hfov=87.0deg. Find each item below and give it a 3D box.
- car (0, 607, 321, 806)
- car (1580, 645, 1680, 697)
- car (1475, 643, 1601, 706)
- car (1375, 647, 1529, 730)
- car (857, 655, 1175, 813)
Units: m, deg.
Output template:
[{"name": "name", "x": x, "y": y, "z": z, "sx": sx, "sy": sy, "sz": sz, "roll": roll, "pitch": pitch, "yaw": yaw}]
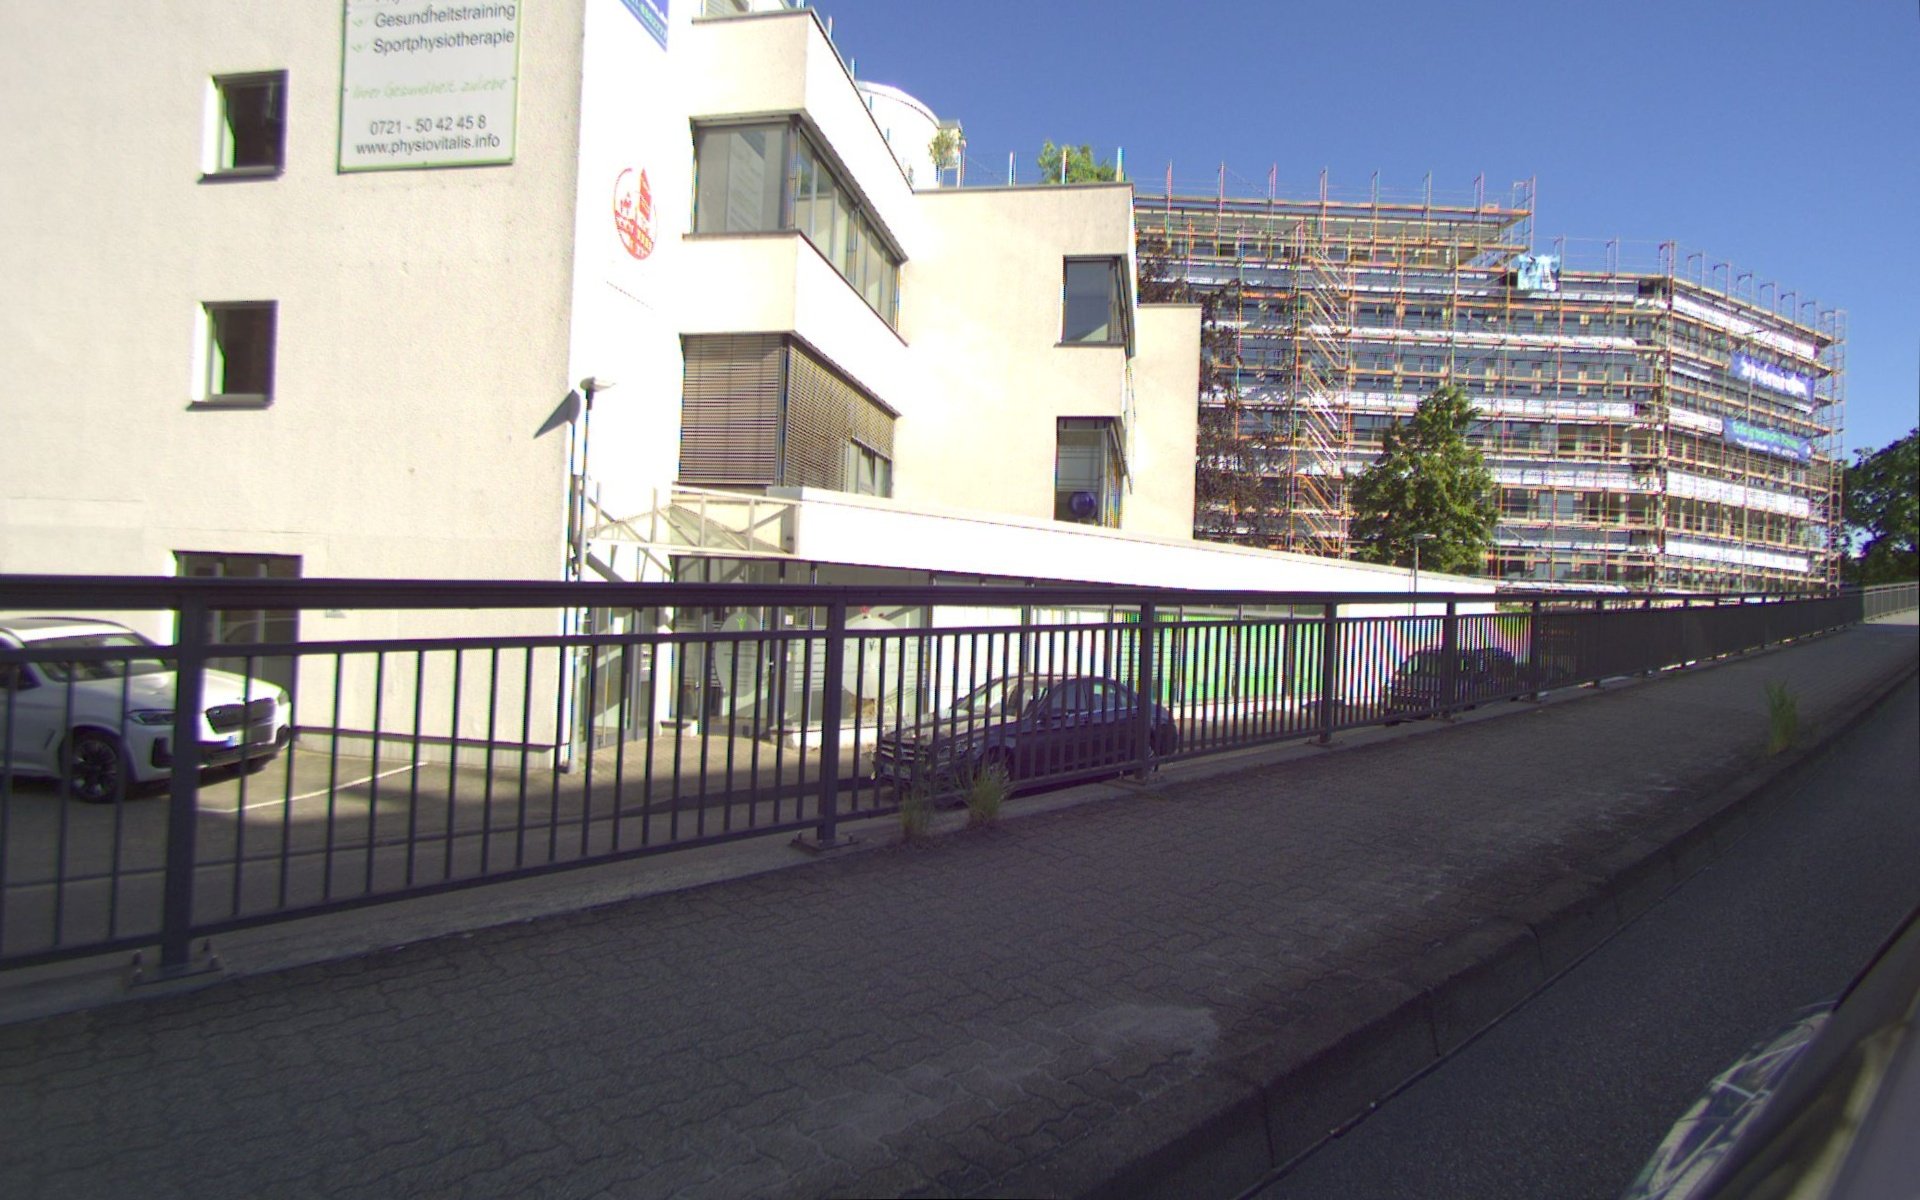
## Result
[{"name": "car", "x": -9.561, "y": 1.017, "z": 10.841, "sx": 4.455, "sy": 1.707, "sz": 1.840, "roll": 2, "pitch": 0, "yaw": 9}, {"name": "car", "x": 21.084, "y": 2.173, "z": 31.794, "sx": 3.931, "sy": 1.410, "sz": 1.723, "roll": 1, "pitch": -1, "yaw": -42}, {"name": "car", "x": 14.977, "y": 1.866, "z": 26.154, "sx": 3.931, "sy": 1.410, "sz": 1.723, "roll": 1, "pitch": -1, "yaw": -42}, {"name": "car", "x": 10.856, "y": 1.859, "z": 22.224, "sx": 3.931, "sy": 1.541, "sz": 1.723, "roll": 1, "pitch": -1, "yaw": -42}, {"name": "car", "x": 0.805, "y": 1.544, "z": 12.805, "sx": 3.929, "sy": 1.541, "sz": 1.724, "roll": 1, "pitch": -1, "yaw": -41}]
